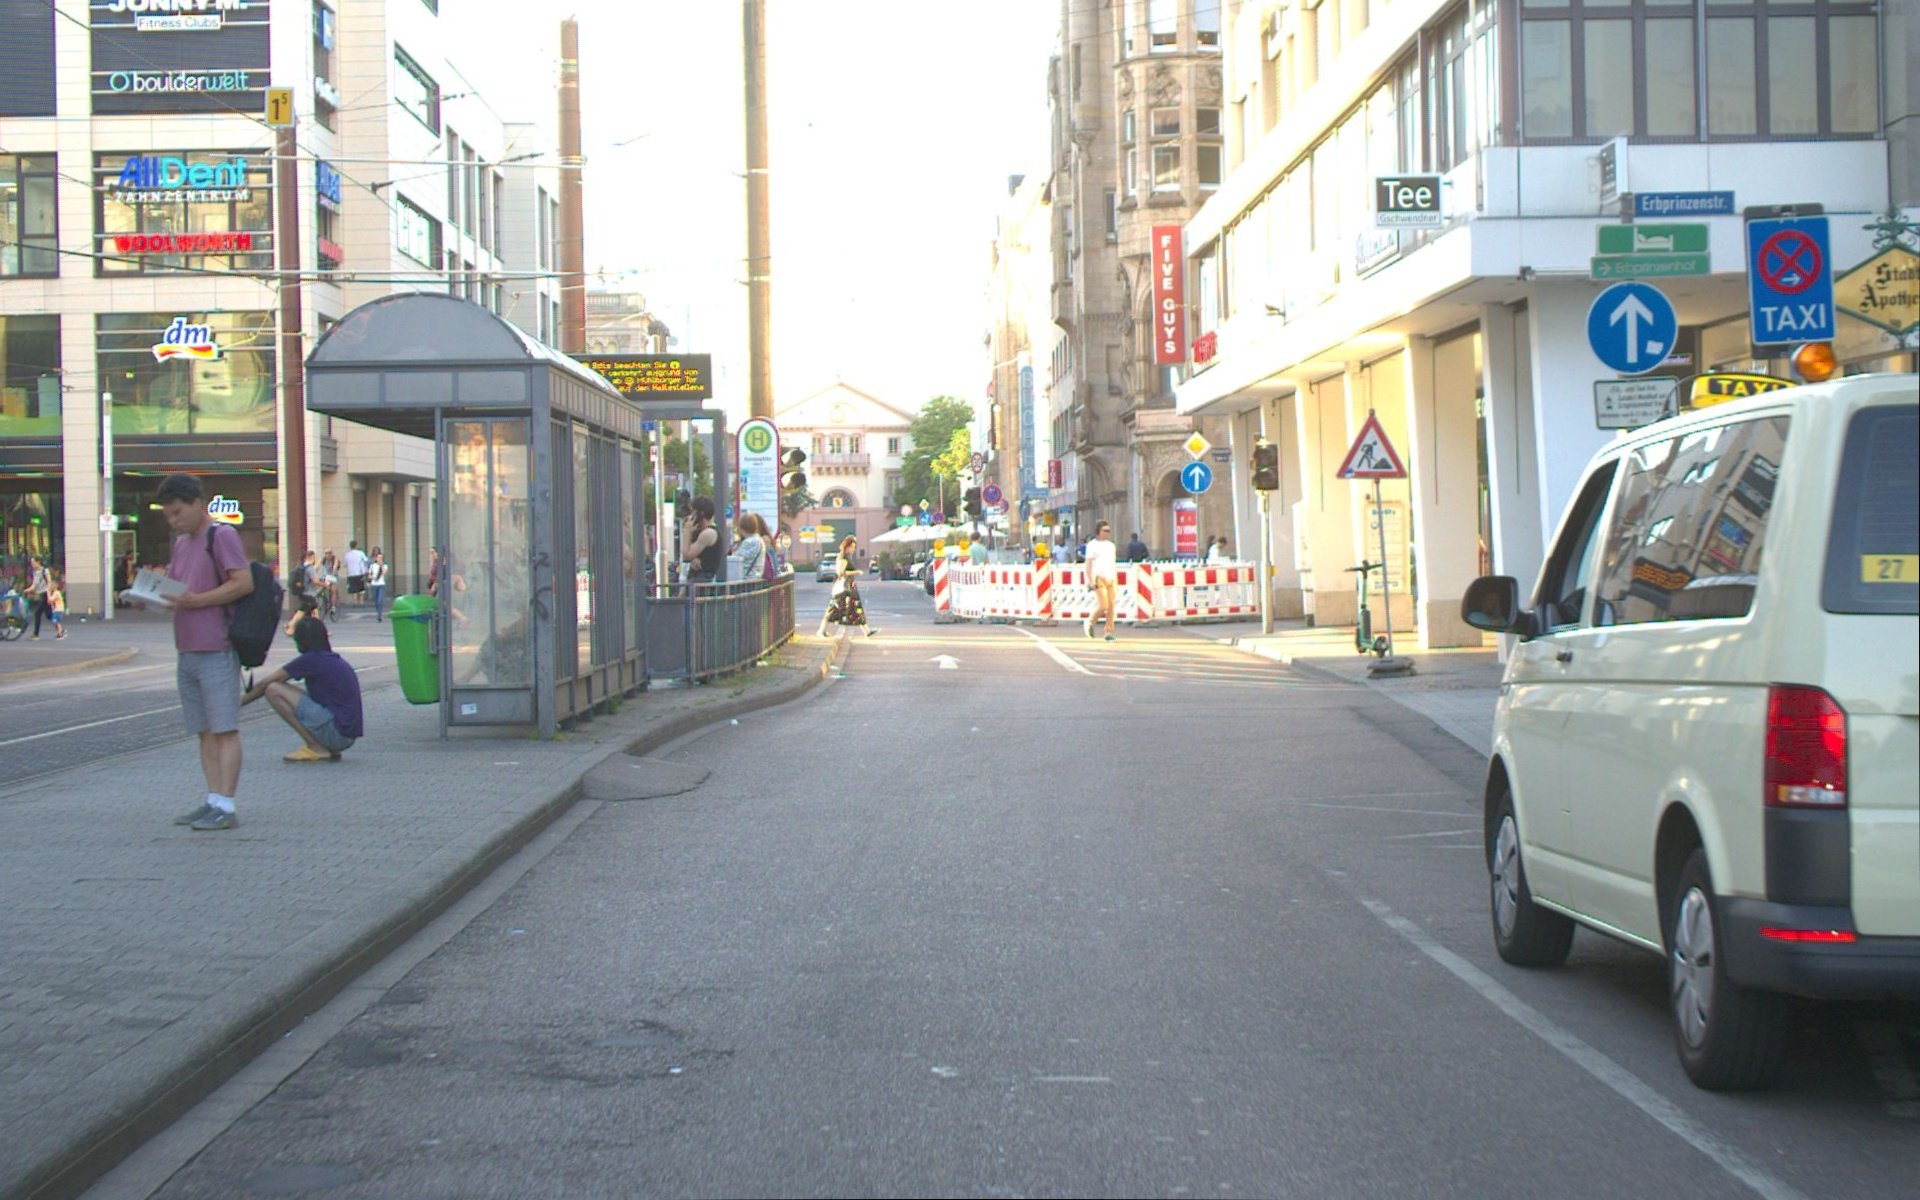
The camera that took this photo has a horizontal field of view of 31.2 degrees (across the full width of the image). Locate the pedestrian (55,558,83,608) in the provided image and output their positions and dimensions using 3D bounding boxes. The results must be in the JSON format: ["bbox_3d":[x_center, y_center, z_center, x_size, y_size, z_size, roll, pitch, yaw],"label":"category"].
[{"bbox_3d":[-17.122,-0.327,66.044,0.421,0.962,0.418,0,1,1],"label":"pedestrian"}]

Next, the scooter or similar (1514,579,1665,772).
[{"bbox_3d":[4.182,0.491,22.814,1.044,1.230,0.272,-2,0,-33],"label":"scooter or similar"}]

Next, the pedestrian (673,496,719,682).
[{"bbox_3d":[-2.520,-0.105,32.820,0.412,1.761,0.594,1,0,-3],"label":"pedestrian"}]

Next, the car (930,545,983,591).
[{"bbox_3d":[-0.133,-1.115,120.603,1.679,1.542,3.673,-2,1,-2],"label":"car"}]

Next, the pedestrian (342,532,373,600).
[{"bbox_3d":[-16.563,-0.927,94.536,0.573,1.848,0.816,1,0,11],"label":"pedestrian"}]

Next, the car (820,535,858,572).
[{"bbox_3d":[-6.452,-2.473,183.271,1.993,1.897,4.000,1,0,-2],"label":"car"}]

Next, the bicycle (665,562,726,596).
[{"bbox_3d":[-8.705,-0.699,113.230,1.967,1.118,0.558,0,0,-30],"label":"bicycle"}]

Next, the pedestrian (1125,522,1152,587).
[{"bbox_3d":[4.643,-1.181,89.508,0.625,1.684,0.671,-1,0,-3],"label":"pedestrian"}]

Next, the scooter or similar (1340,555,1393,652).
[{"bbox_3d":[5.236,0.041,44.299,0.505,1.230,1.180,-1,1,-2],"label":"scooter or similar"}]

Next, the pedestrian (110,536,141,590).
[{"bbox_3d":[-23.466,-1.040,96.655,0.573,1.521,0.790,1,0,11],"label":"pedestrian"}]

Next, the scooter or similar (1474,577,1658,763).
[{"bbox_3d":[4.144,0.478,23.512,1.176,1.230,0.316,-2,0,15],"label":"scooter or similar"}]

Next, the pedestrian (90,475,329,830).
[{"bbox_3d":[-3.561,0.233,16.330,0.687,1.632,0.859,0,1,40],"label":"pedestrian"}]

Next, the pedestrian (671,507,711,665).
[{"bbox_3d":[-2.805,-0.145,35.828,0.385,1.636,0.549,1,0,-3],"label":"pedestrian"}]

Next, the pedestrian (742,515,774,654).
[{"bbox_3d":[-2.406,-0.184,40.941,0.357,1.636,0.503,1,0,-3],"label":"pedestrian"}]

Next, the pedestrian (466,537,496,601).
[{"bbox_3d":[-13.281,-0.861,95.318,0.782,1.745,0.600,1,0,-4],"label":"pedestrian"}]

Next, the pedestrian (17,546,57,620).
[{"bbox_3d":[-17.790,-0.335,66.262,0.639,1.415,0.418,0,1,1],"label":"pedestrian"}]

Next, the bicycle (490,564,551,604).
[{"bbox_3d":[-12.628,-0.463,98.827,1.696,1.118,0.451,1,0,1],"label":"bicycle"}]

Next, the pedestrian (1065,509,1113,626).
[{"bbox_3d":[2.022,-0.508,53.850,0.699,1.809,0.852,1,1,4],"label":"pedestrian"}]

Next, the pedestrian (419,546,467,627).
[{"bbox_3d":[-10.505,-0.276,69.806,0.769,1.608,0.667,-1,1,-26],"label":"pedestrian"}]

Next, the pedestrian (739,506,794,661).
[{"bbox_3d":[-2.215,-0.186,39.449,0.539,1.761,0.594,1,0,4],"label":"pedestrian"}]

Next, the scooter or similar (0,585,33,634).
[{"bbox_3d":[-18.324,0.187,65.428,1.093,0.901,0.890,-1,1,0],"label":"scooter or similar"}]

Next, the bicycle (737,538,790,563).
[{"bbox_3d":[-8.228,-2.067,143.908,2.148,1.026,0.640,-1,0,1],"label":"bicycle"}]

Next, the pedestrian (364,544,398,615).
[{"bbox_3d":[-13.690,-0.482,81.317,0.649,1.668,0.530,-1,1,7],"label":"pedestrian"}]

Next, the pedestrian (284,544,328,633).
[{"bbox_3d":[-12.569,-0.226,66.083,0.743,1.694,0.610,-1,1,-6],"label":"pedestrian"}]

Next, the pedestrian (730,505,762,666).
[{"bbox_3d":[-2.402,-0.165,38.654,0.341,1.789,0.544,1,0,-3],"label":"pedestrian"}]

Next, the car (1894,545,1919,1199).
[{"bbox_3d":[2.805,0.678,4.409,1.806,1.478,4.779,-1,1,-1],"label":"car"}]

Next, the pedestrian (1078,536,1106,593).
[{"bbox_3d":[3.774,-1.017,98.218,0.711,1.605,0.822,1,0,-4],"label":"pedestrian"}]

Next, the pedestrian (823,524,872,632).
[{"bbox_3d":[-1.783,-0.353,54.256,0.699,1.687,0.541,1,0,-8],"label":"pedestrian"}]

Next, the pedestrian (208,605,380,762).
[{"bbox_3d":[-4.126,0.505,21.318,0.799,0.936,0.692,0,1,22],"label":"pedestrian"}]

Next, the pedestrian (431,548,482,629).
[{"bbox_3d":[-10.108,-0.228,69.000,0.821,1.608,0.693,-1,1,-26],"label":"pedestrian"}]

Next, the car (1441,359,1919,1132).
[{"bbox_3d":[2.878,0.364,10.937,1.876,1.917,4.700,2,0,-1],"label":"car"}]
